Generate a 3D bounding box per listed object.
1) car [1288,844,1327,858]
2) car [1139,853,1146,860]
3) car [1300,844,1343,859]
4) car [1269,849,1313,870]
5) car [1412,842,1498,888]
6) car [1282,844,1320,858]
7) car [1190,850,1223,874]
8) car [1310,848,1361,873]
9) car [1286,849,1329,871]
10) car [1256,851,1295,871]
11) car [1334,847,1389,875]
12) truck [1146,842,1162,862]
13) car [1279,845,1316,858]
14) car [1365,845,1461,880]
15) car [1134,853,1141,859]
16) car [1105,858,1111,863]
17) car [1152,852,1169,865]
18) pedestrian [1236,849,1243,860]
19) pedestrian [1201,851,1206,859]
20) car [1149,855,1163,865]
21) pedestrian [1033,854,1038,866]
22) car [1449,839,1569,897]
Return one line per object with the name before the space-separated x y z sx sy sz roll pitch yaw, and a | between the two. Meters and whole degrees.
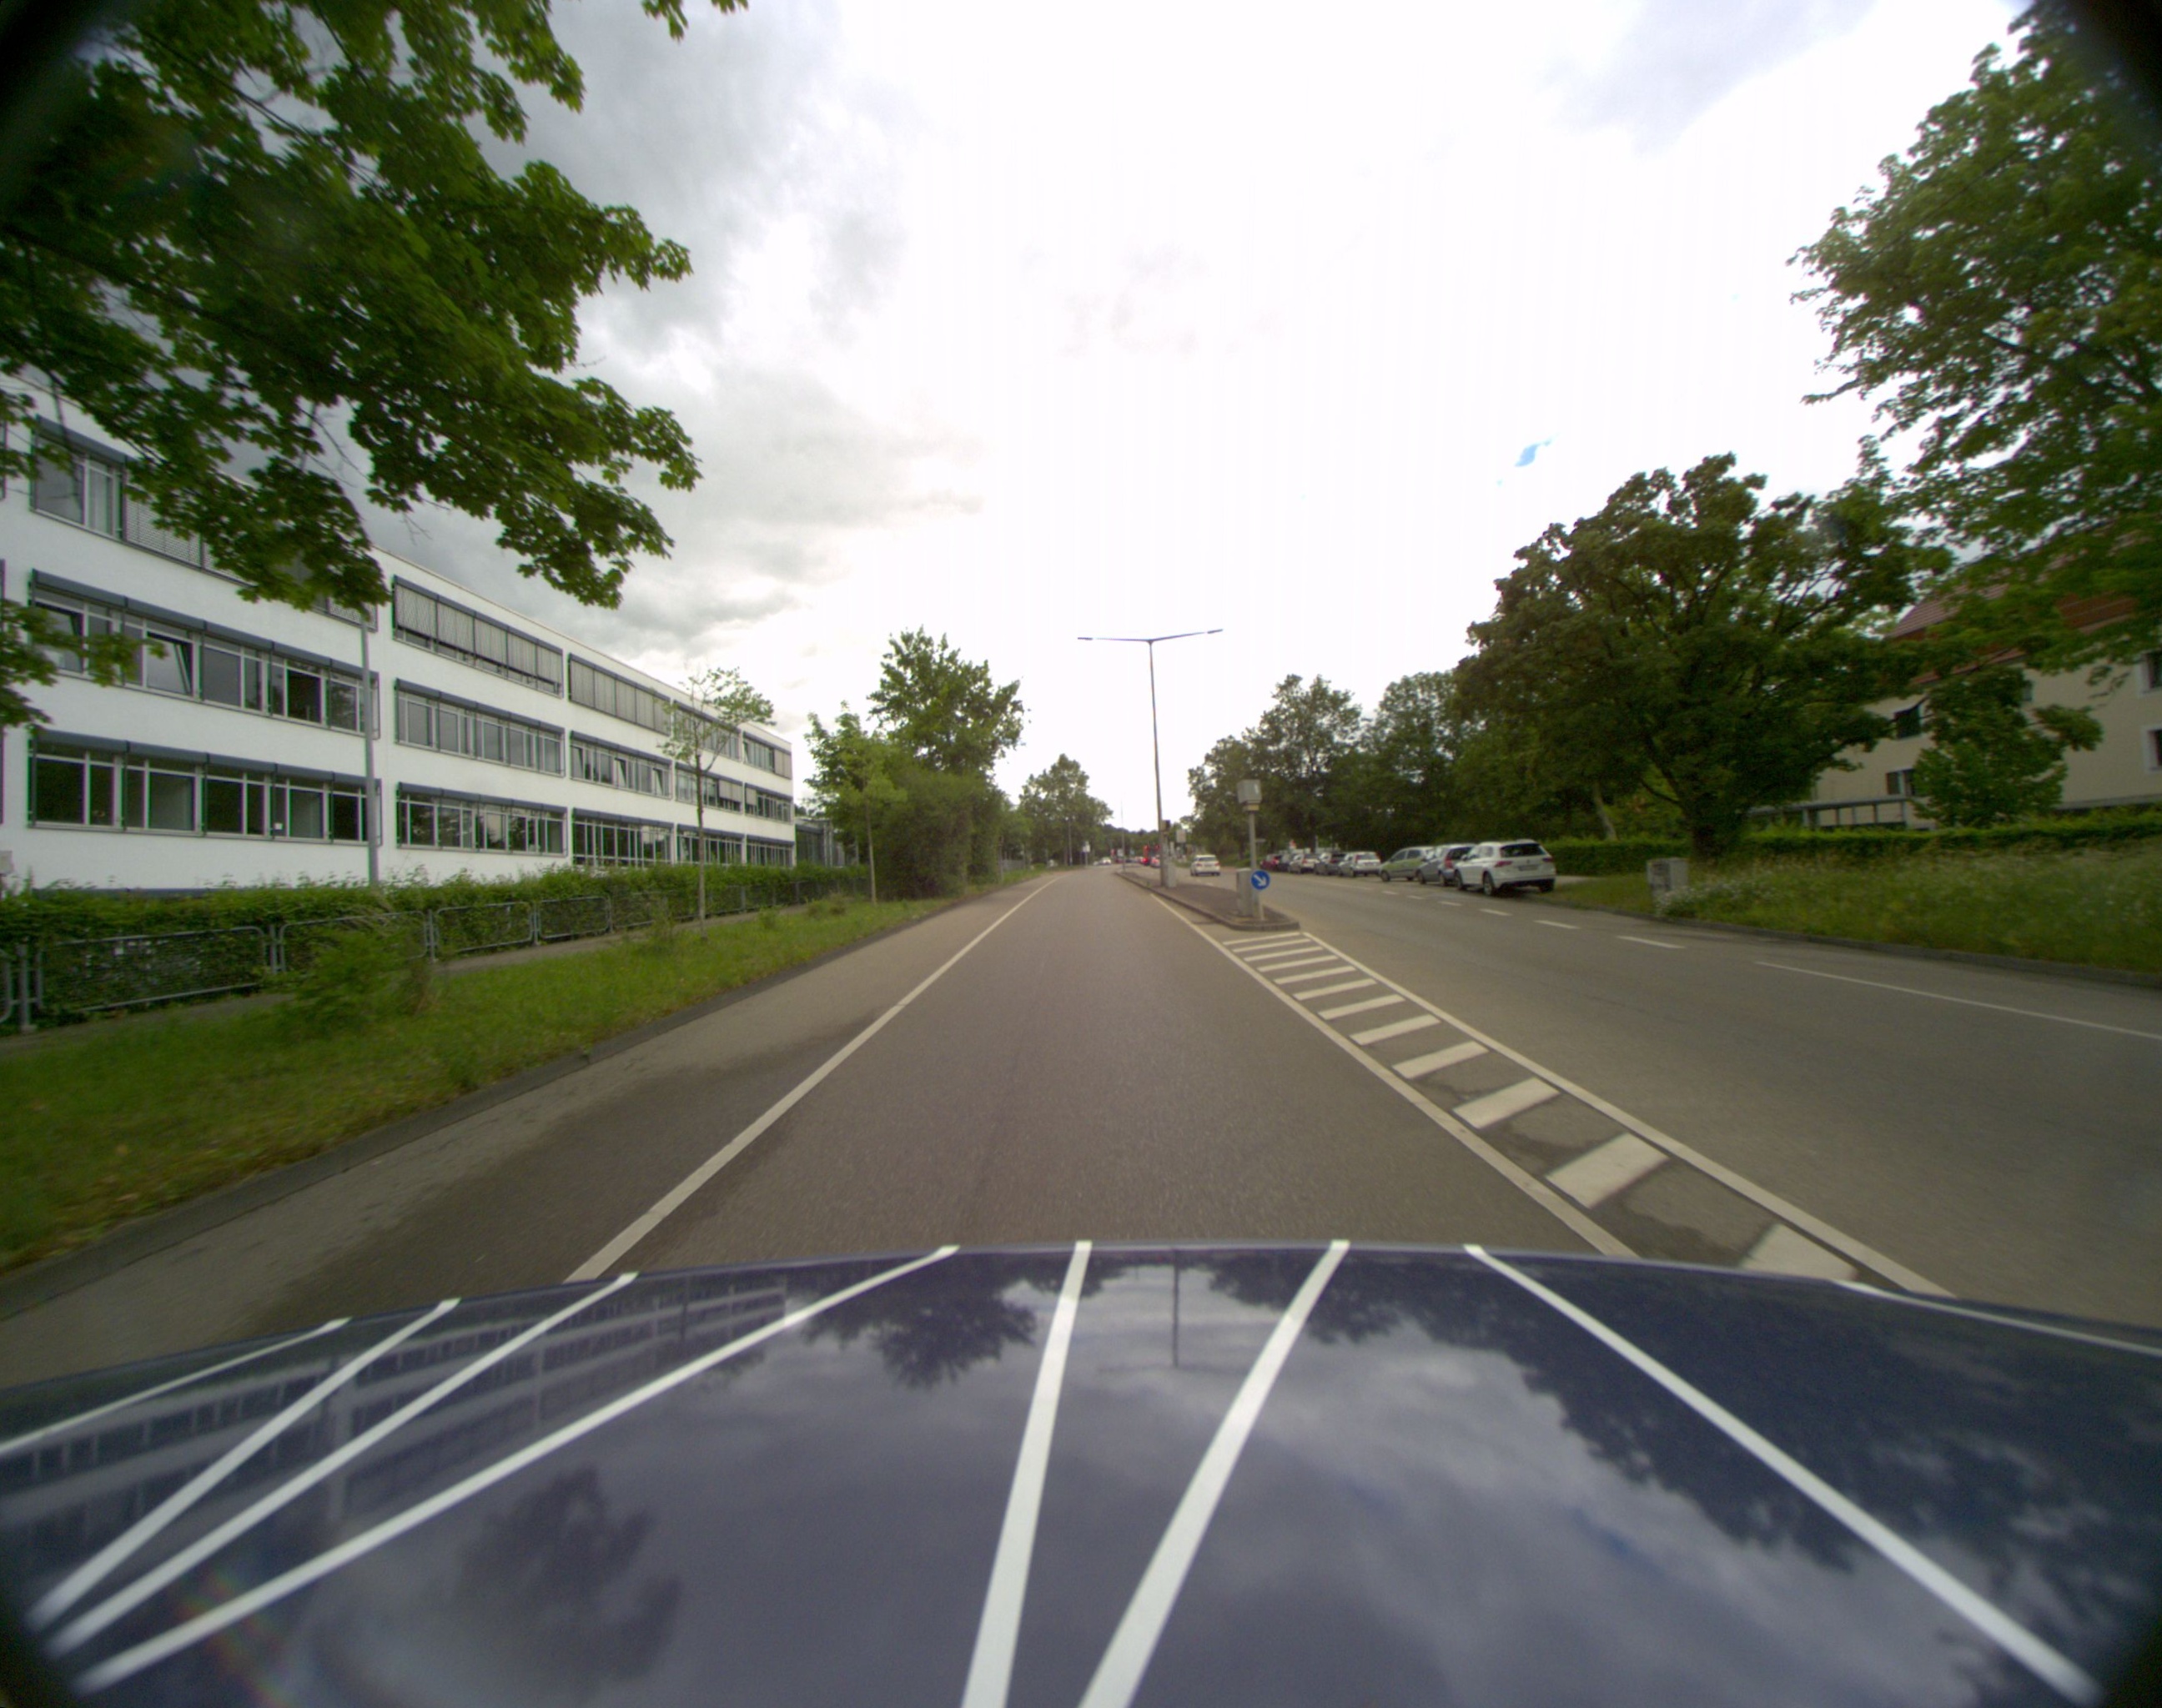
car | 33.234 -0.401 111.608 5.297 2.002 1.739 0 1 1
car | 14.844 0.568 183.392 1.591 1.608 3.585 -2 0 5
car | 32.728 -0.382 103.501 5.297 2.002 2.011 0 1 0
car | 16.689 0.430 60.672 1.881 1.498 3.997 -3 0 -8
car | 14.722 0.401 30.140 1.879 1.587 4.002 -3 1 8
car | 33.240 -0.445 114.964 5.297 2.002 1.739 0 1 0
car | 9.222 0.578 56.160 1.879 1.561 4.339 -3 1 3
car | 16.412 0.420 49.187 1.880 1.498 4.000 -3 0 0
car | 16.342 0.421 54.950 1.880 1.498 4.056 -3 0 0
car | 16.574 0.599 64.920 1.881 1.498 3.886 -3 0 -6
car | 16.277 0.412 44.315 1.879 1.498 4.001 -2 0 3
truck | 13.121 -0.401 136.970 2.831 3.460 7.826 -2 0 5
car | 33.424 -0.378 117.528 5.297 2.002 1.739 0 1 0
car | 15.374 0.407 35.411 1.882 1.498 3.994 -2 0 -18
car | 15.054 0.450 202.313 1.591 1.608 3.585 -2 0 5
car | 7.237 1.768 203.794 1.592 1.480 3.583 -2 0 0
car | 11.030 0.610 106.063 1.833 1.759 4.406 -3 0 0
pedestrian | 23.859 0.069 114.278 0.757 1.727 0.638 -3 1 -7
pedestrian | 21.168 0.170 131.092 0.757 1.438 0.639 -3 1 1
car | 10.985 0.847 111.412 1.733 1.477 4.123 -1 0 2
pedestrian | -6.727 0.840 112.483 0.734 1.717 0.501 -1 1 -2
car | 13.685 0.394 24.626 1.879 1.657 4.393 -3 0 8
